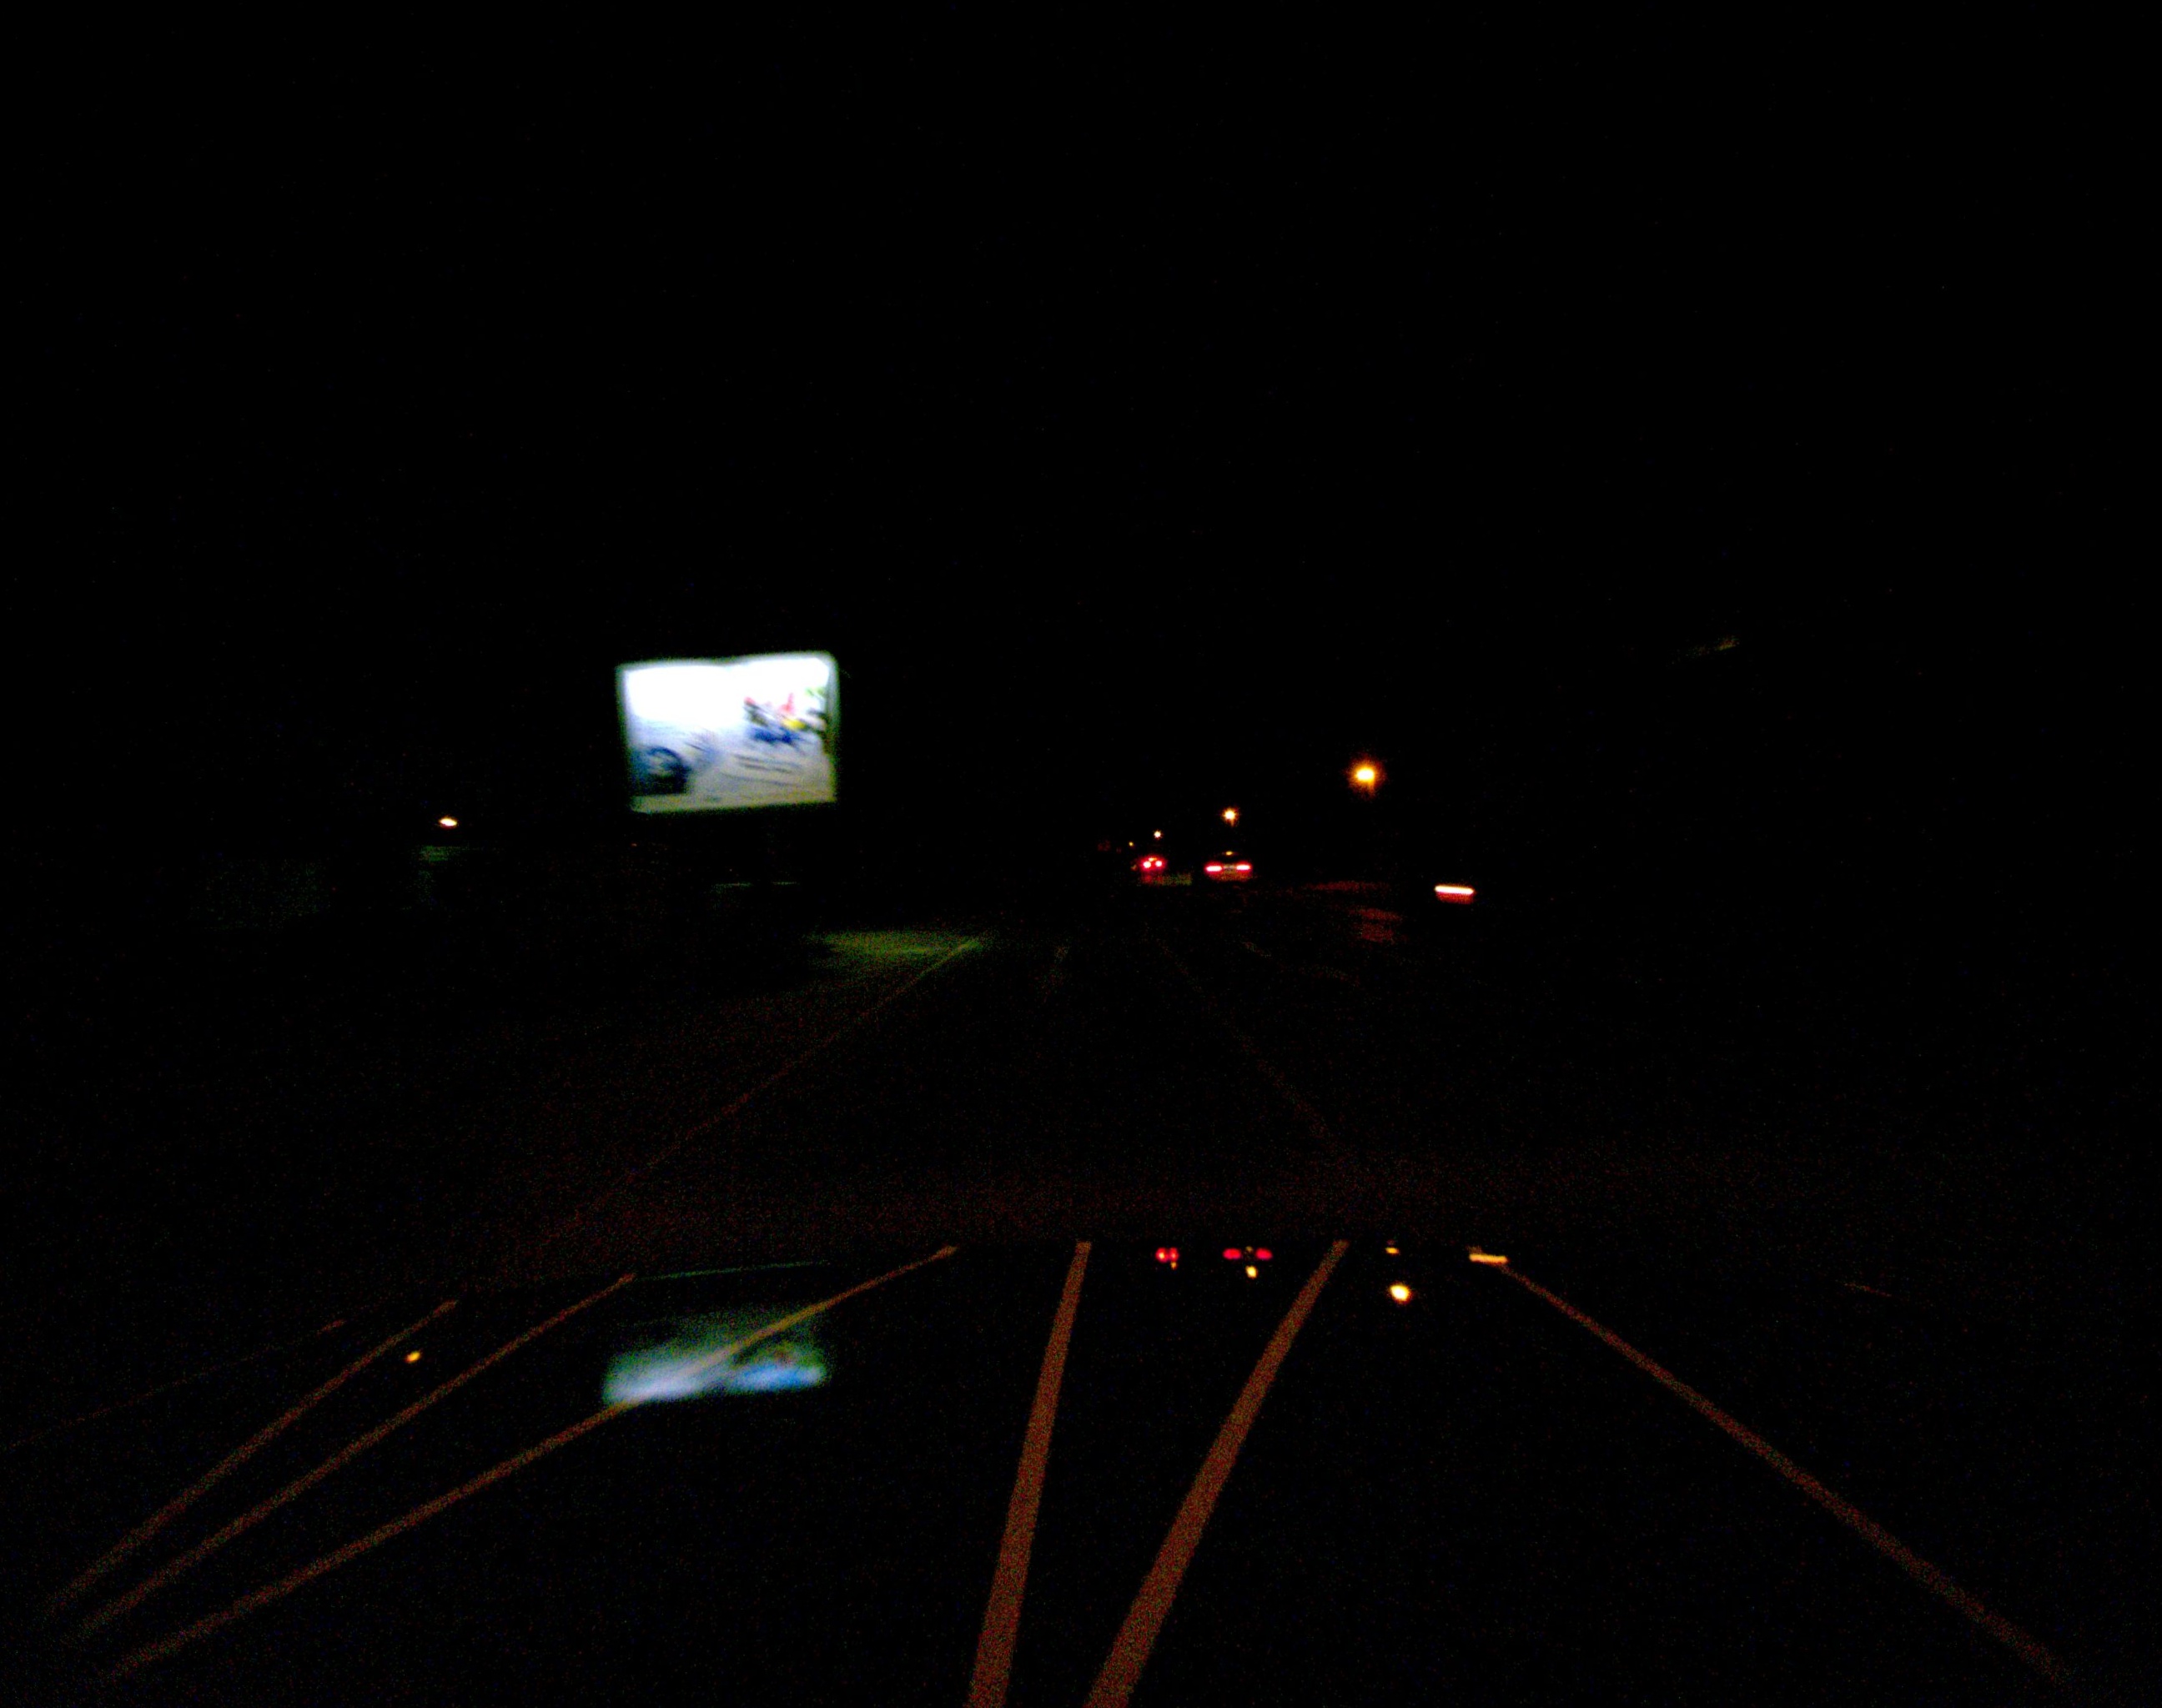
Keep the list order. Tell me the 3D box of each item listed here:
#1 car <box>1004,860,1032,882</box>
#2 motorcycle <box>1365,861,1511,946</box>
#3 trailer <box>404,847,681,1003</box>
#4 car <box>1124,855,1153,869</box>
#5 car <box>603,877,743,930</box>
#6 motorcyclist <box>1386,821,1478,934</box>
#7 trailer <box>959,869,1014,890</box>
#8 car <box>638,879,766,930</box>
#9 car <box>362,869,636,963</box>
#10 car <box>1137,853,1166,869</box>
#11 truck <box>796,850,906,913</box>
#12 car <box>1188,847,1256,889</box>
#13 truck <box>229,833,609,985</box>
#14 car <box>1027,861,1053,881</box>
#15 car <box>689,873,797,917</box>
[{"bbox_3d":[-4.892,1.323,59.167,1.940,1.543,3.999,-4,0,-5],"label":"car"},{"bbox_3d":[6.290,0.806,13.657,1.000,1.297,2.825,-3,0,-6],"label":"motorcycle"},{"bbox_3d":[-7.949,0.977,11.208,3.750,2.001,1.617,-2,-1,24],"label":"trailer"},{"bbox_3d":[6.212,0.885,82.353,2.000,1.371,4.595,-4,0,-9],"label":"car"},{"bbox_3d":[-14.142,1.696,26.493,3.866,1.507,1.708,-3,0,-2],"label":"car"},{"bbox_3d":[6.272,0.409,13.610,1.137,1.889,0.833,-3,0,-6],"label":"motorcyclist"},{"bbox_3d":[-6.142,1.642,50.815,2.179,0.961,9.618,-5,-1,2],"label":"trailer"},{"bbox_3d":[-14.192,1.857,28.605,3.866,1.586,1.708,-3,0,-2],"label":"car"},{"bbox_3d":[-13.878,1.435,18.328,5.085,1.825,1.989,-3,0,3],"label":"car"},{"bbox_3d":[7.011,0.750,76.222,1.854,1.436,4.914,-4,0,-6],"label":"car"},{"bbox_3d":[-9.738,1.071,33.097,2.384,2.270,7.743,-3,0,-1],"label":"truck"},{"bbox_3d":[6.120,0.578,33.601,1.999,1.617,4.752,-3,0,-1],"label":"car"},{"bbox_3d":[-13.417,1.050,15.770,5.544,2.584,2.472,-3,0,-1],"label":"truck"},{"bbox_3d":[-3.599,1.467,66.275,1.999,1.542,4.325,-4,-1,-5],"label":"car"},{"bbox_3d":[-14.669,1.770,33.118,3.866,1.595,1.708,-3,0,-2],"label":"car"}]
